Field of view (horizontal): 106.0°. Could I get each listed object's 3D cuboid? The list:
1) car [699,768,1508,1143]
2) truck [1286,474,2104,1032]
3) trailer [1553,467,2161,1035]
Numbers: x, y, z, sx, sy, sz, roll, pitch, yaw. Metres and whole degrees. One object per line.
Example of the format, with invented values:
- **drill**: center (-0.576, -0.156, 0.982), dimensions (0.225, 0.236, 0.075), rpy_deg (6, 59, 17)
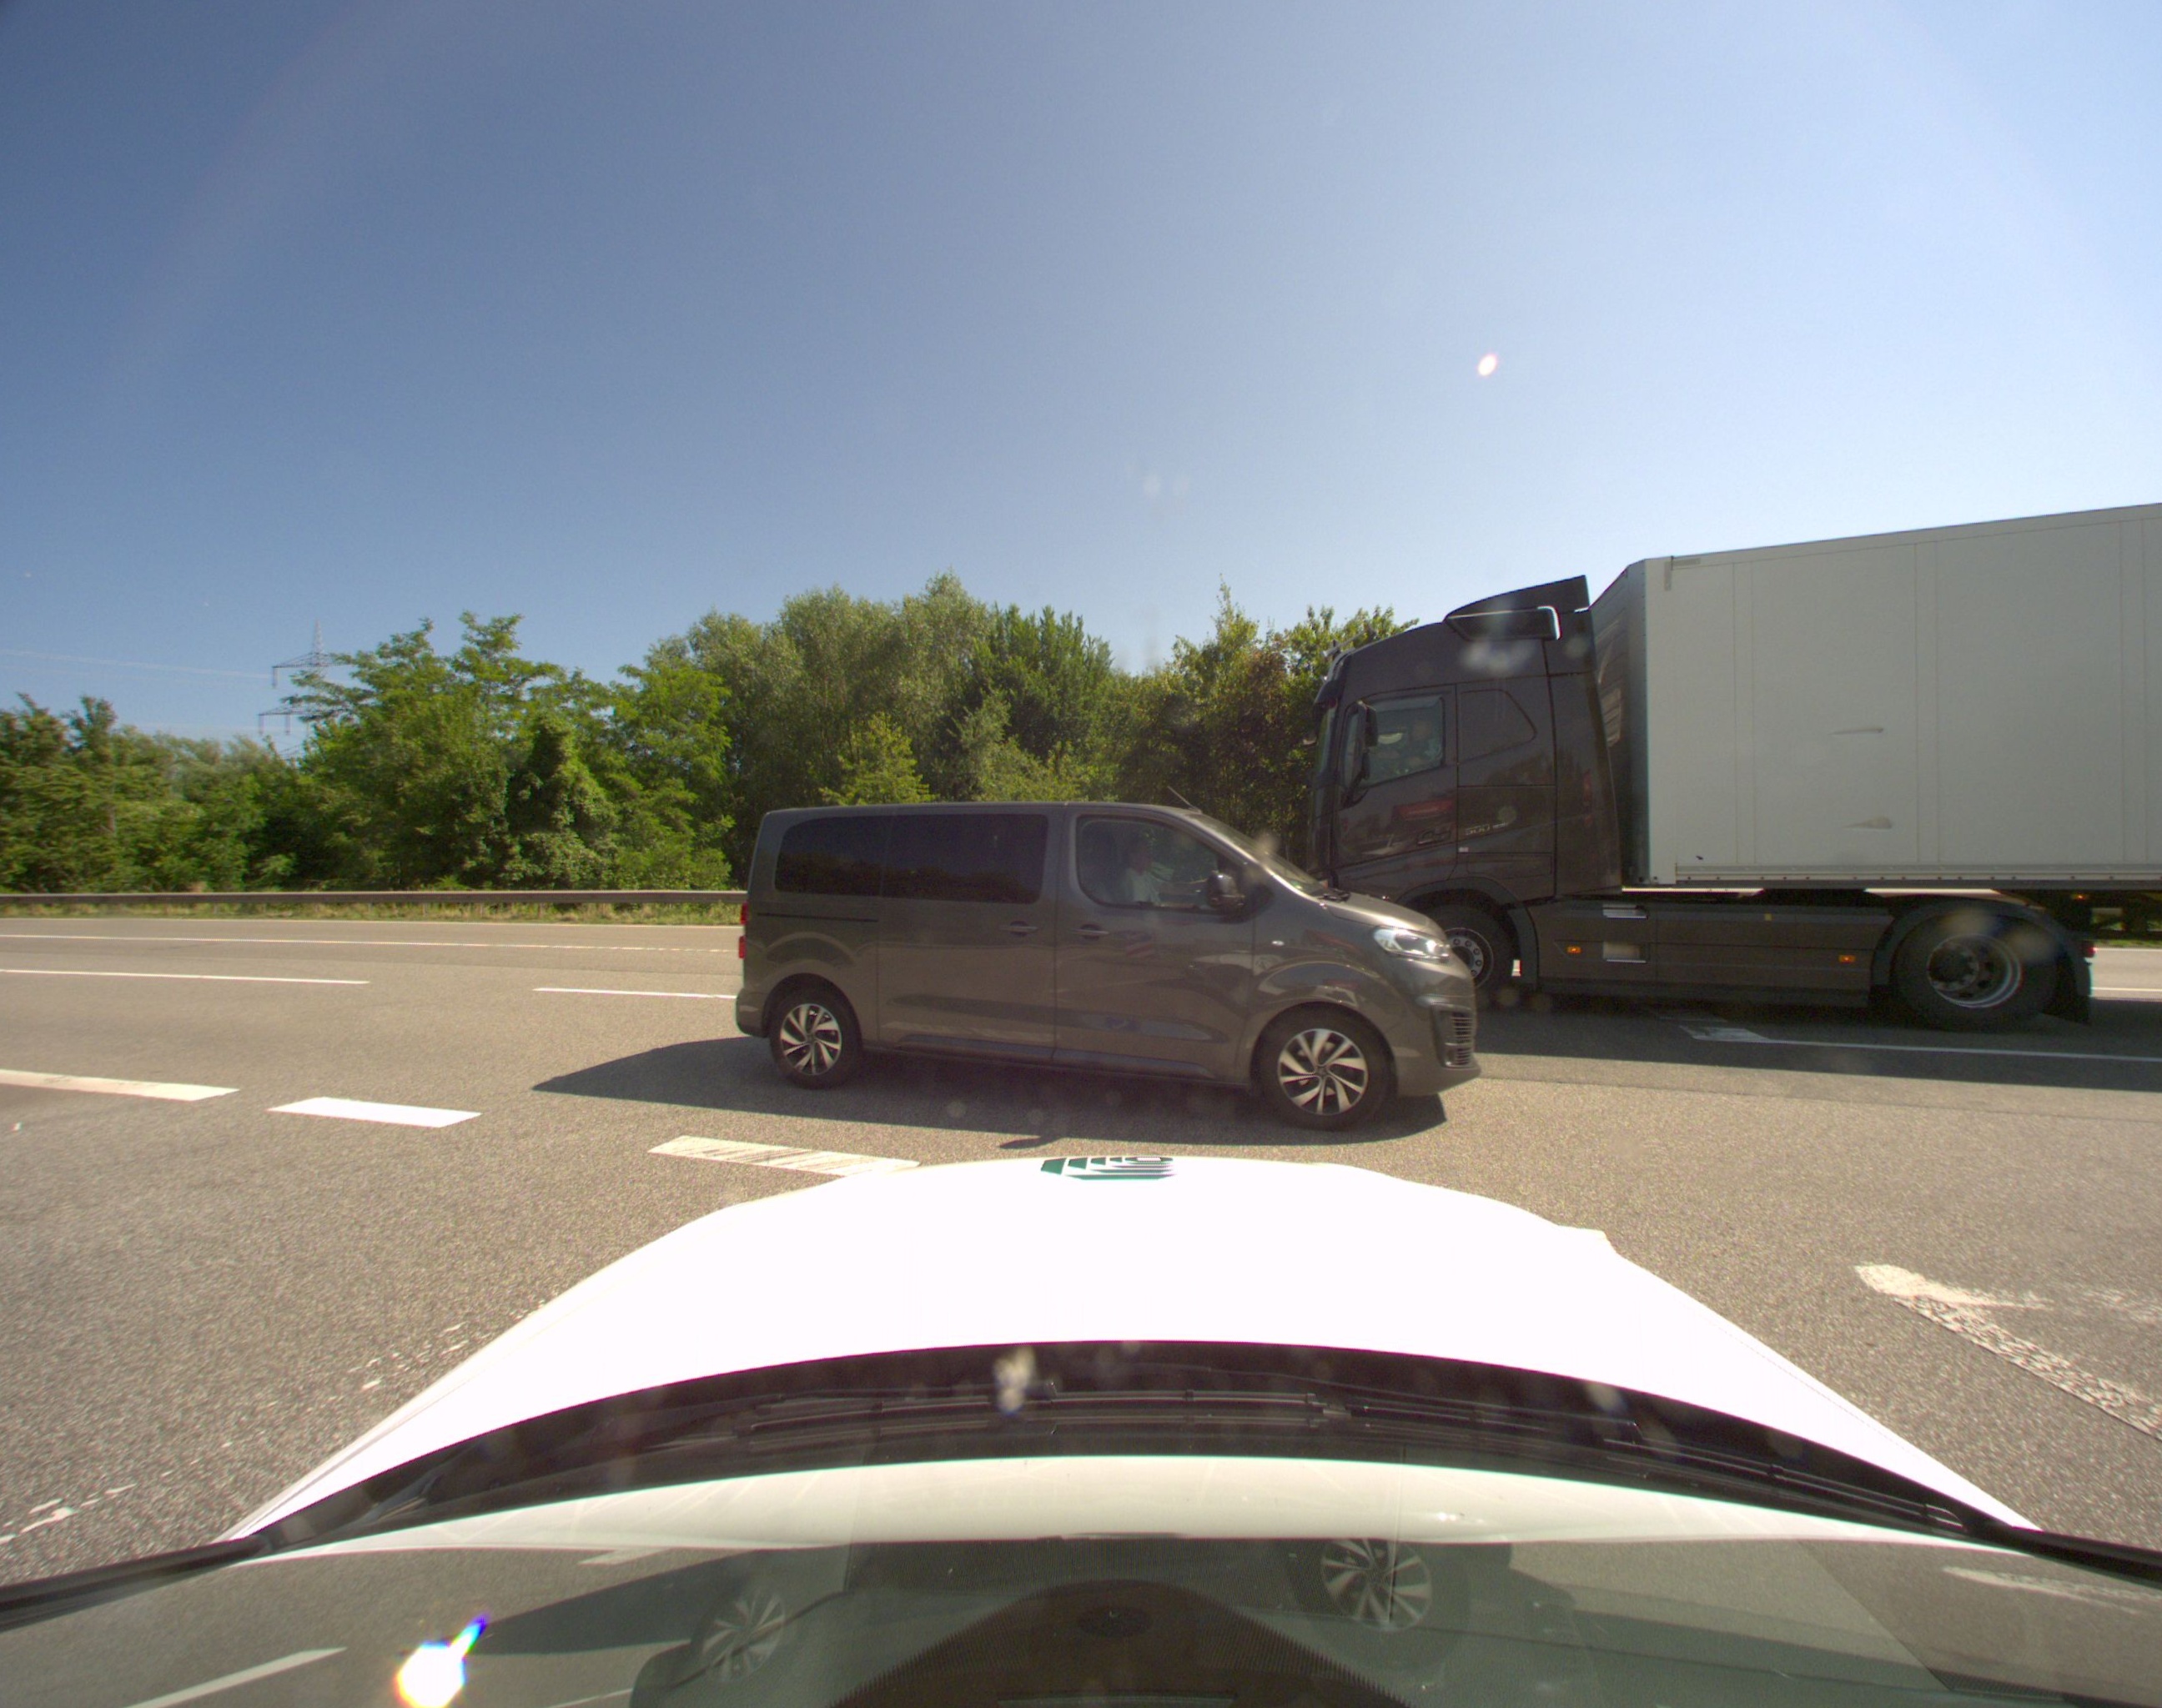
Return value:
- **car**: center (0.077, 0.541, 5.775), dimensions (4.938, 1.879, 2.009), rpy_deg (-1, 0, 18)
- **truck**: center (5.291, -0.744, 8.382), dimensions (5.903, 4.173, 2.894), rpy_deg (-1, 0, 18)
- **trailer**: center (11.779, -0.823, 6.205), dimensions (13.821, 4.165, 2.911), rpy_deg (-1, 0, 19)
